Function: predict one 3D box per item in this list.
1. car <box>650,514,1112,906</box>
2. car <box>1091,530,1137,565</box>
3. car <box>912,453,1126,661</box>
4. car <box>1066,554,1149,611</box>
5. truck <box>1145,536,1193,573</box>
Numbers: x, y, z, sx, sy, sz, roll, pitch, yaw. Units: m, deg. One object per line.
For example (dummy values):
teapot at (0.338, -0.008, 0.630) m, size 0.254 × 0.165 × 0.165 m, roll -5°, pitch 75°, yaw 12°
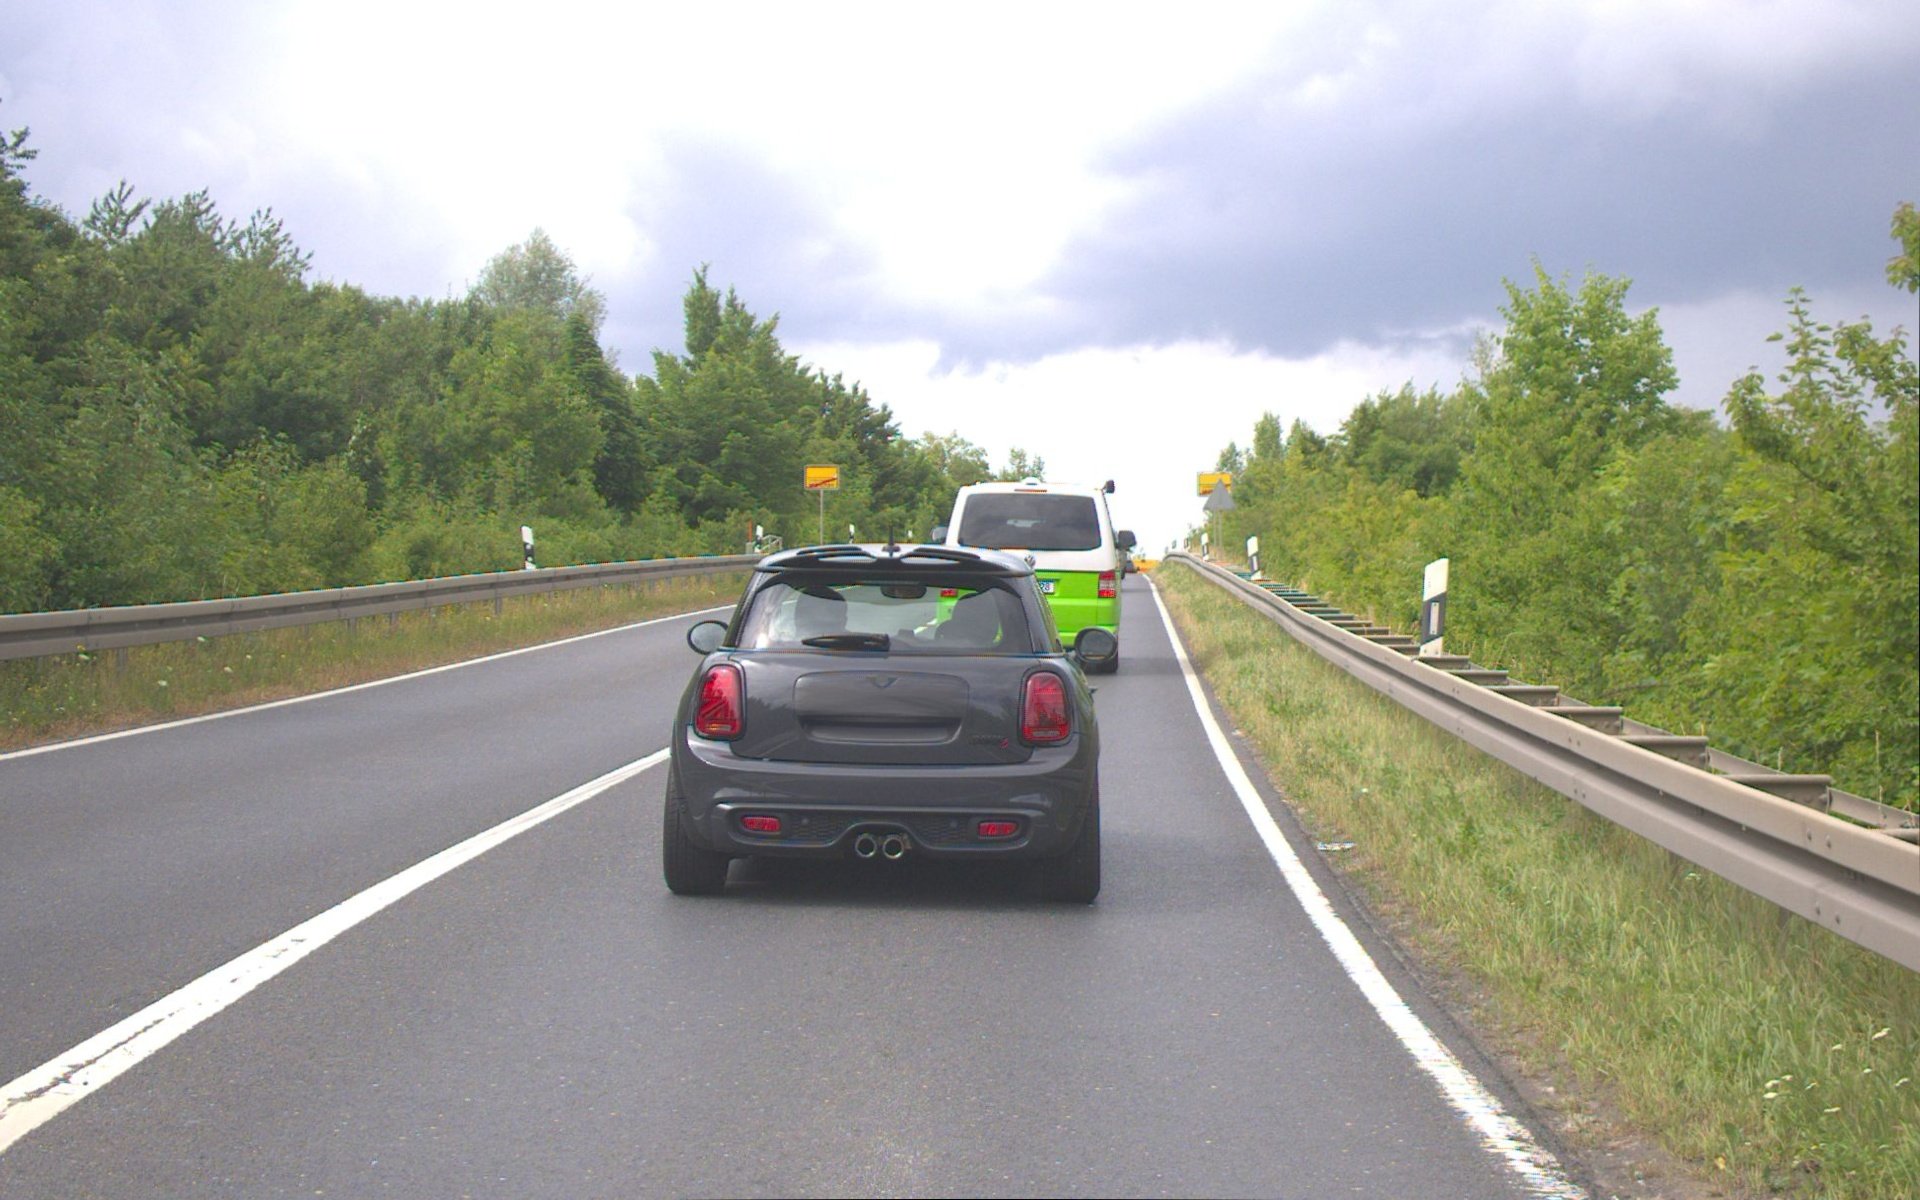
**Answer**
car at (-0.365, 0.372, 15.098) m, size 1.732 × 1.451 × 4.001 m, roll 1°, pitch 1°, yaw -2°
car at (6.204, -2.118, 137.890) m, size 1.694 × 1.315 × 4.000 m, roll -1°, pitch 1°, yaw 5°
car at (0.687, -0.473, 36.328) m, size 2.022 × 2.006 × 4.000 m, roll 2°, pitch 1°, yaw 3°
car at (3.380, -0.388, 78.441) m, size 1.695 × 1.218 × 3.999 m, roll -1°, pitch -1°, yaw 5°
truck at (14.118, -3.088, 231.847) m, size 2.910 × 2.364 × 10.450 m, roll -1°, pitch 1°, yaw 5°
